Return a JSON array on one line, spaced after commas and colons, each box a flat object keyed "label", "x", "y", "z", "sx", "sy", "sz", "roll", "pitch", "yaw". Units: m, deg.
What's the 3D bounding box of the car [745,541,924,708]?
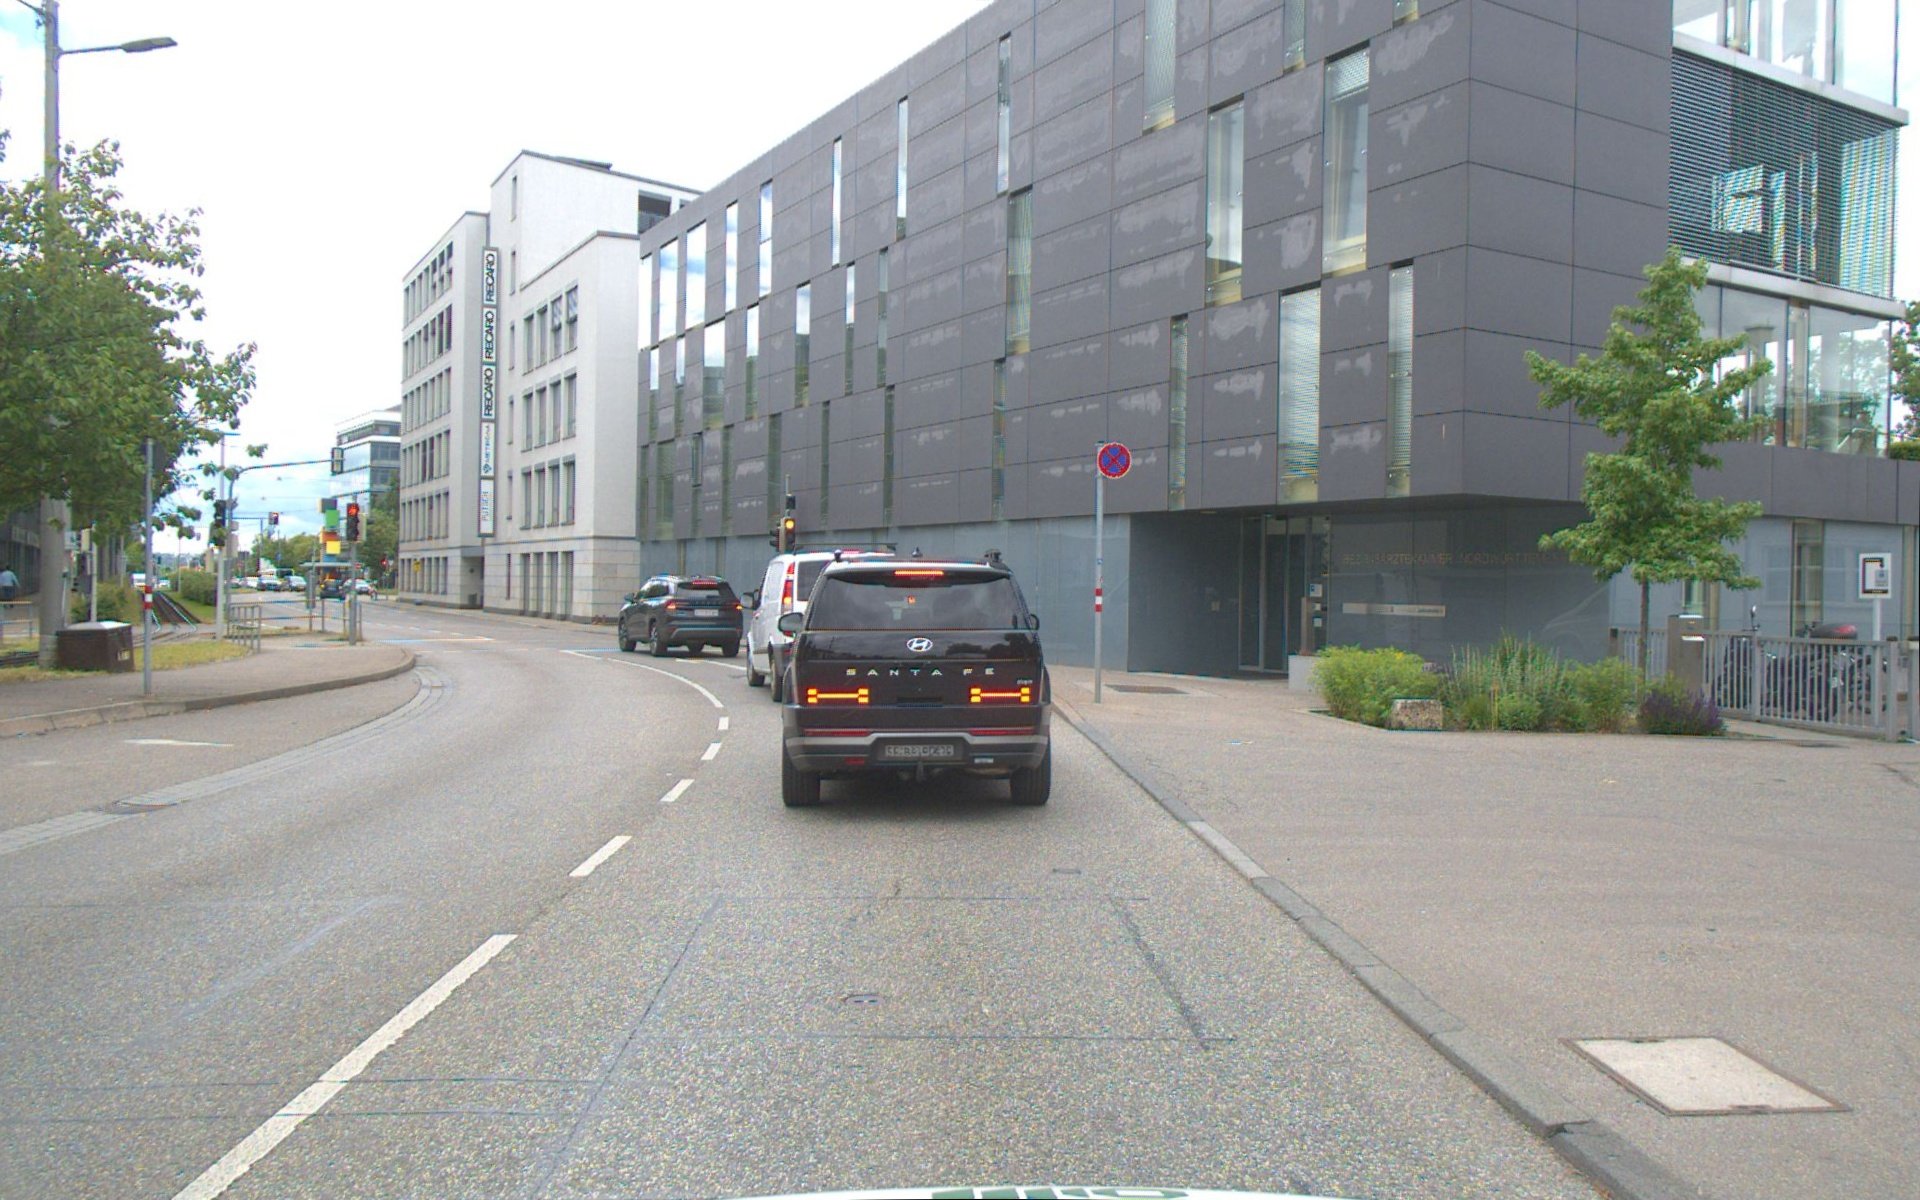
[{"label": "car", "x": -1.840, "y": 0.282, "z": 22.831, "sx": 1.823, "sy": 2.069, "sz": 4.423, "roll": 0, "pitch": 1, "yaw": -13}]

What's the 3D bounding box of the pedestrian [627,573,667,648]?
[{"label": "pedestrian", "x": -7.653, "y": 0.256, "z": 40.381, "sx": 0.922, "sy": 1.832, "sz": 0.589, "roll": 1, "pitch": 0, "yaw": -14}]

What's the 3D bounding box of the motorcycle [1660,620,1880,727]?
[{"label": "motorcycle", "x": 10.750, "y": 0.939, "z": 22.078, "sx": 0.836, "sy": 1.282, "sz": 2.670, "roll": 1, "pitch": 0, "yaw": -28}]

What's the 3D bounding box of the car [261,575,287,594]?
[{"label": "car", "x": -64.381, "y": -1.447, "z": 155.148, "sx": 1.832, "sy": 1.725, "sz": 3.961, "roll": 1, "pitch": 0, "yaw": -30}]

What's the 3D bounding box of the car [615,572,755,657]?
[{"label": "car", "x": -5.967, "y": 0.282, "z": 35.517, "sx": 1.825, "sy": 1.706, "sz": 4.338, "roll": 0, "pitch": 0, "yaw": -26}]

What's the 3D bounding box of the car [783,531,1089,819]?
[{"label": "car", "x": -0.312, "y": 0.466, "z": 12.553, "sx": 1.878, "sy": 1.755, "sz": 4.166, "roll": 2, "pitch": 0, "yaw": -5}]

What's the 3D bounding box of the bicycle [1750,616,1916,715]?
[{"label": "bicycle", "x": 12.238, "y": 0.886, "z": 23.254, "sx": 0.607, "sy": 1.282, "sz": 2.083, "roll": 1, "pitch": 0, "yaw": -28}]

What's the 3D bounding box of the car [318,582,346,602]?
[{"label": "car", "x": -48.042, "y": -0.619, "z": 126.637, "sx": 1.871, "sy": 1.512, "sz": 3.977, "roll": 1, "pitch": 0, "yaw": -20}]
